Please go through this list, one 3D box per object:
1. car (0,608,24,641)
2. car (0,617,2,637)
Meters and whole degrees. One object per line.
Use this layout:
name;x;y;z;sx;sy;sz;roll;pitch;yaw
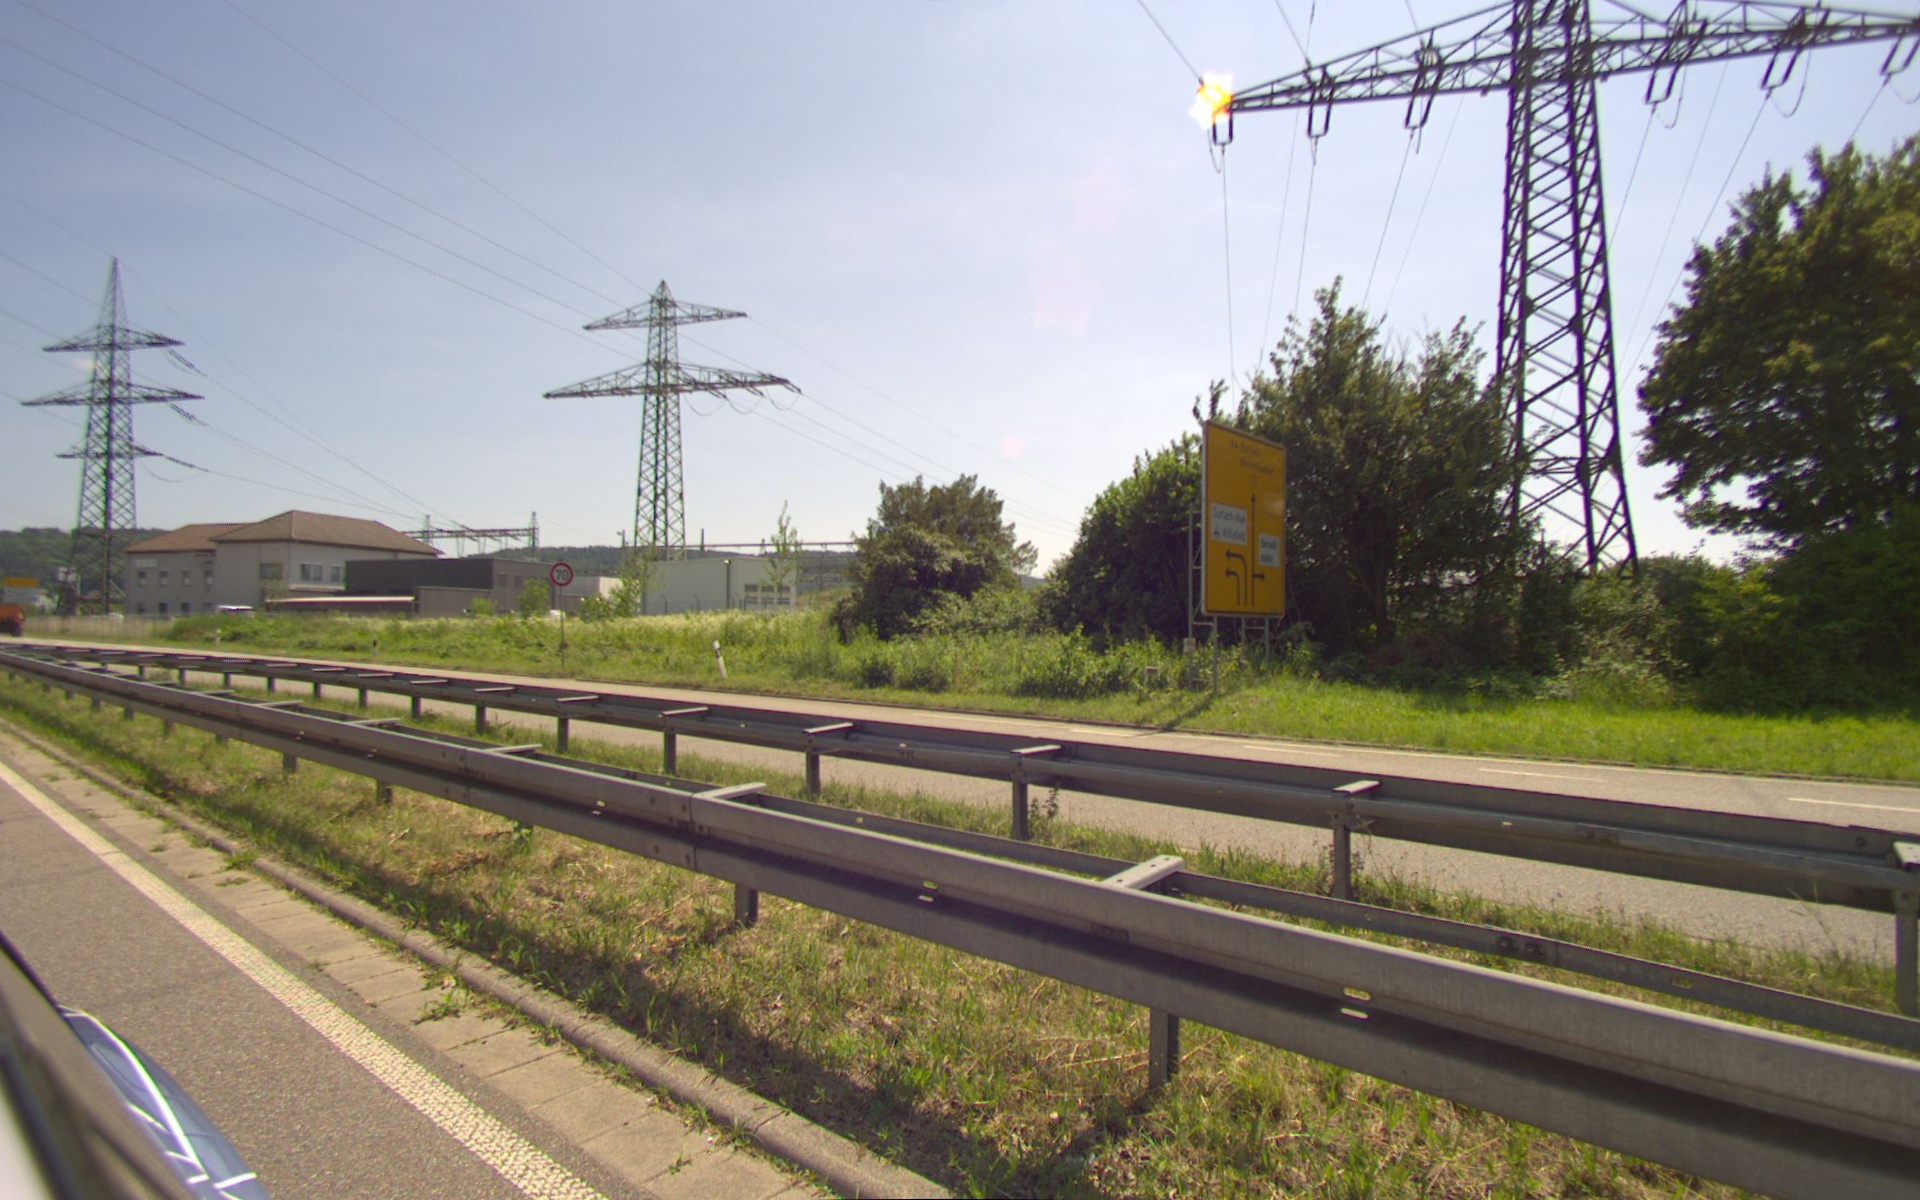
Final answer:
car;-89.927;2.289;94.820;5.634;3.084;2.574;-1;-2;40
car;-97.304;2.658;100.912;3.993;1.929;1.975;0;0;37
